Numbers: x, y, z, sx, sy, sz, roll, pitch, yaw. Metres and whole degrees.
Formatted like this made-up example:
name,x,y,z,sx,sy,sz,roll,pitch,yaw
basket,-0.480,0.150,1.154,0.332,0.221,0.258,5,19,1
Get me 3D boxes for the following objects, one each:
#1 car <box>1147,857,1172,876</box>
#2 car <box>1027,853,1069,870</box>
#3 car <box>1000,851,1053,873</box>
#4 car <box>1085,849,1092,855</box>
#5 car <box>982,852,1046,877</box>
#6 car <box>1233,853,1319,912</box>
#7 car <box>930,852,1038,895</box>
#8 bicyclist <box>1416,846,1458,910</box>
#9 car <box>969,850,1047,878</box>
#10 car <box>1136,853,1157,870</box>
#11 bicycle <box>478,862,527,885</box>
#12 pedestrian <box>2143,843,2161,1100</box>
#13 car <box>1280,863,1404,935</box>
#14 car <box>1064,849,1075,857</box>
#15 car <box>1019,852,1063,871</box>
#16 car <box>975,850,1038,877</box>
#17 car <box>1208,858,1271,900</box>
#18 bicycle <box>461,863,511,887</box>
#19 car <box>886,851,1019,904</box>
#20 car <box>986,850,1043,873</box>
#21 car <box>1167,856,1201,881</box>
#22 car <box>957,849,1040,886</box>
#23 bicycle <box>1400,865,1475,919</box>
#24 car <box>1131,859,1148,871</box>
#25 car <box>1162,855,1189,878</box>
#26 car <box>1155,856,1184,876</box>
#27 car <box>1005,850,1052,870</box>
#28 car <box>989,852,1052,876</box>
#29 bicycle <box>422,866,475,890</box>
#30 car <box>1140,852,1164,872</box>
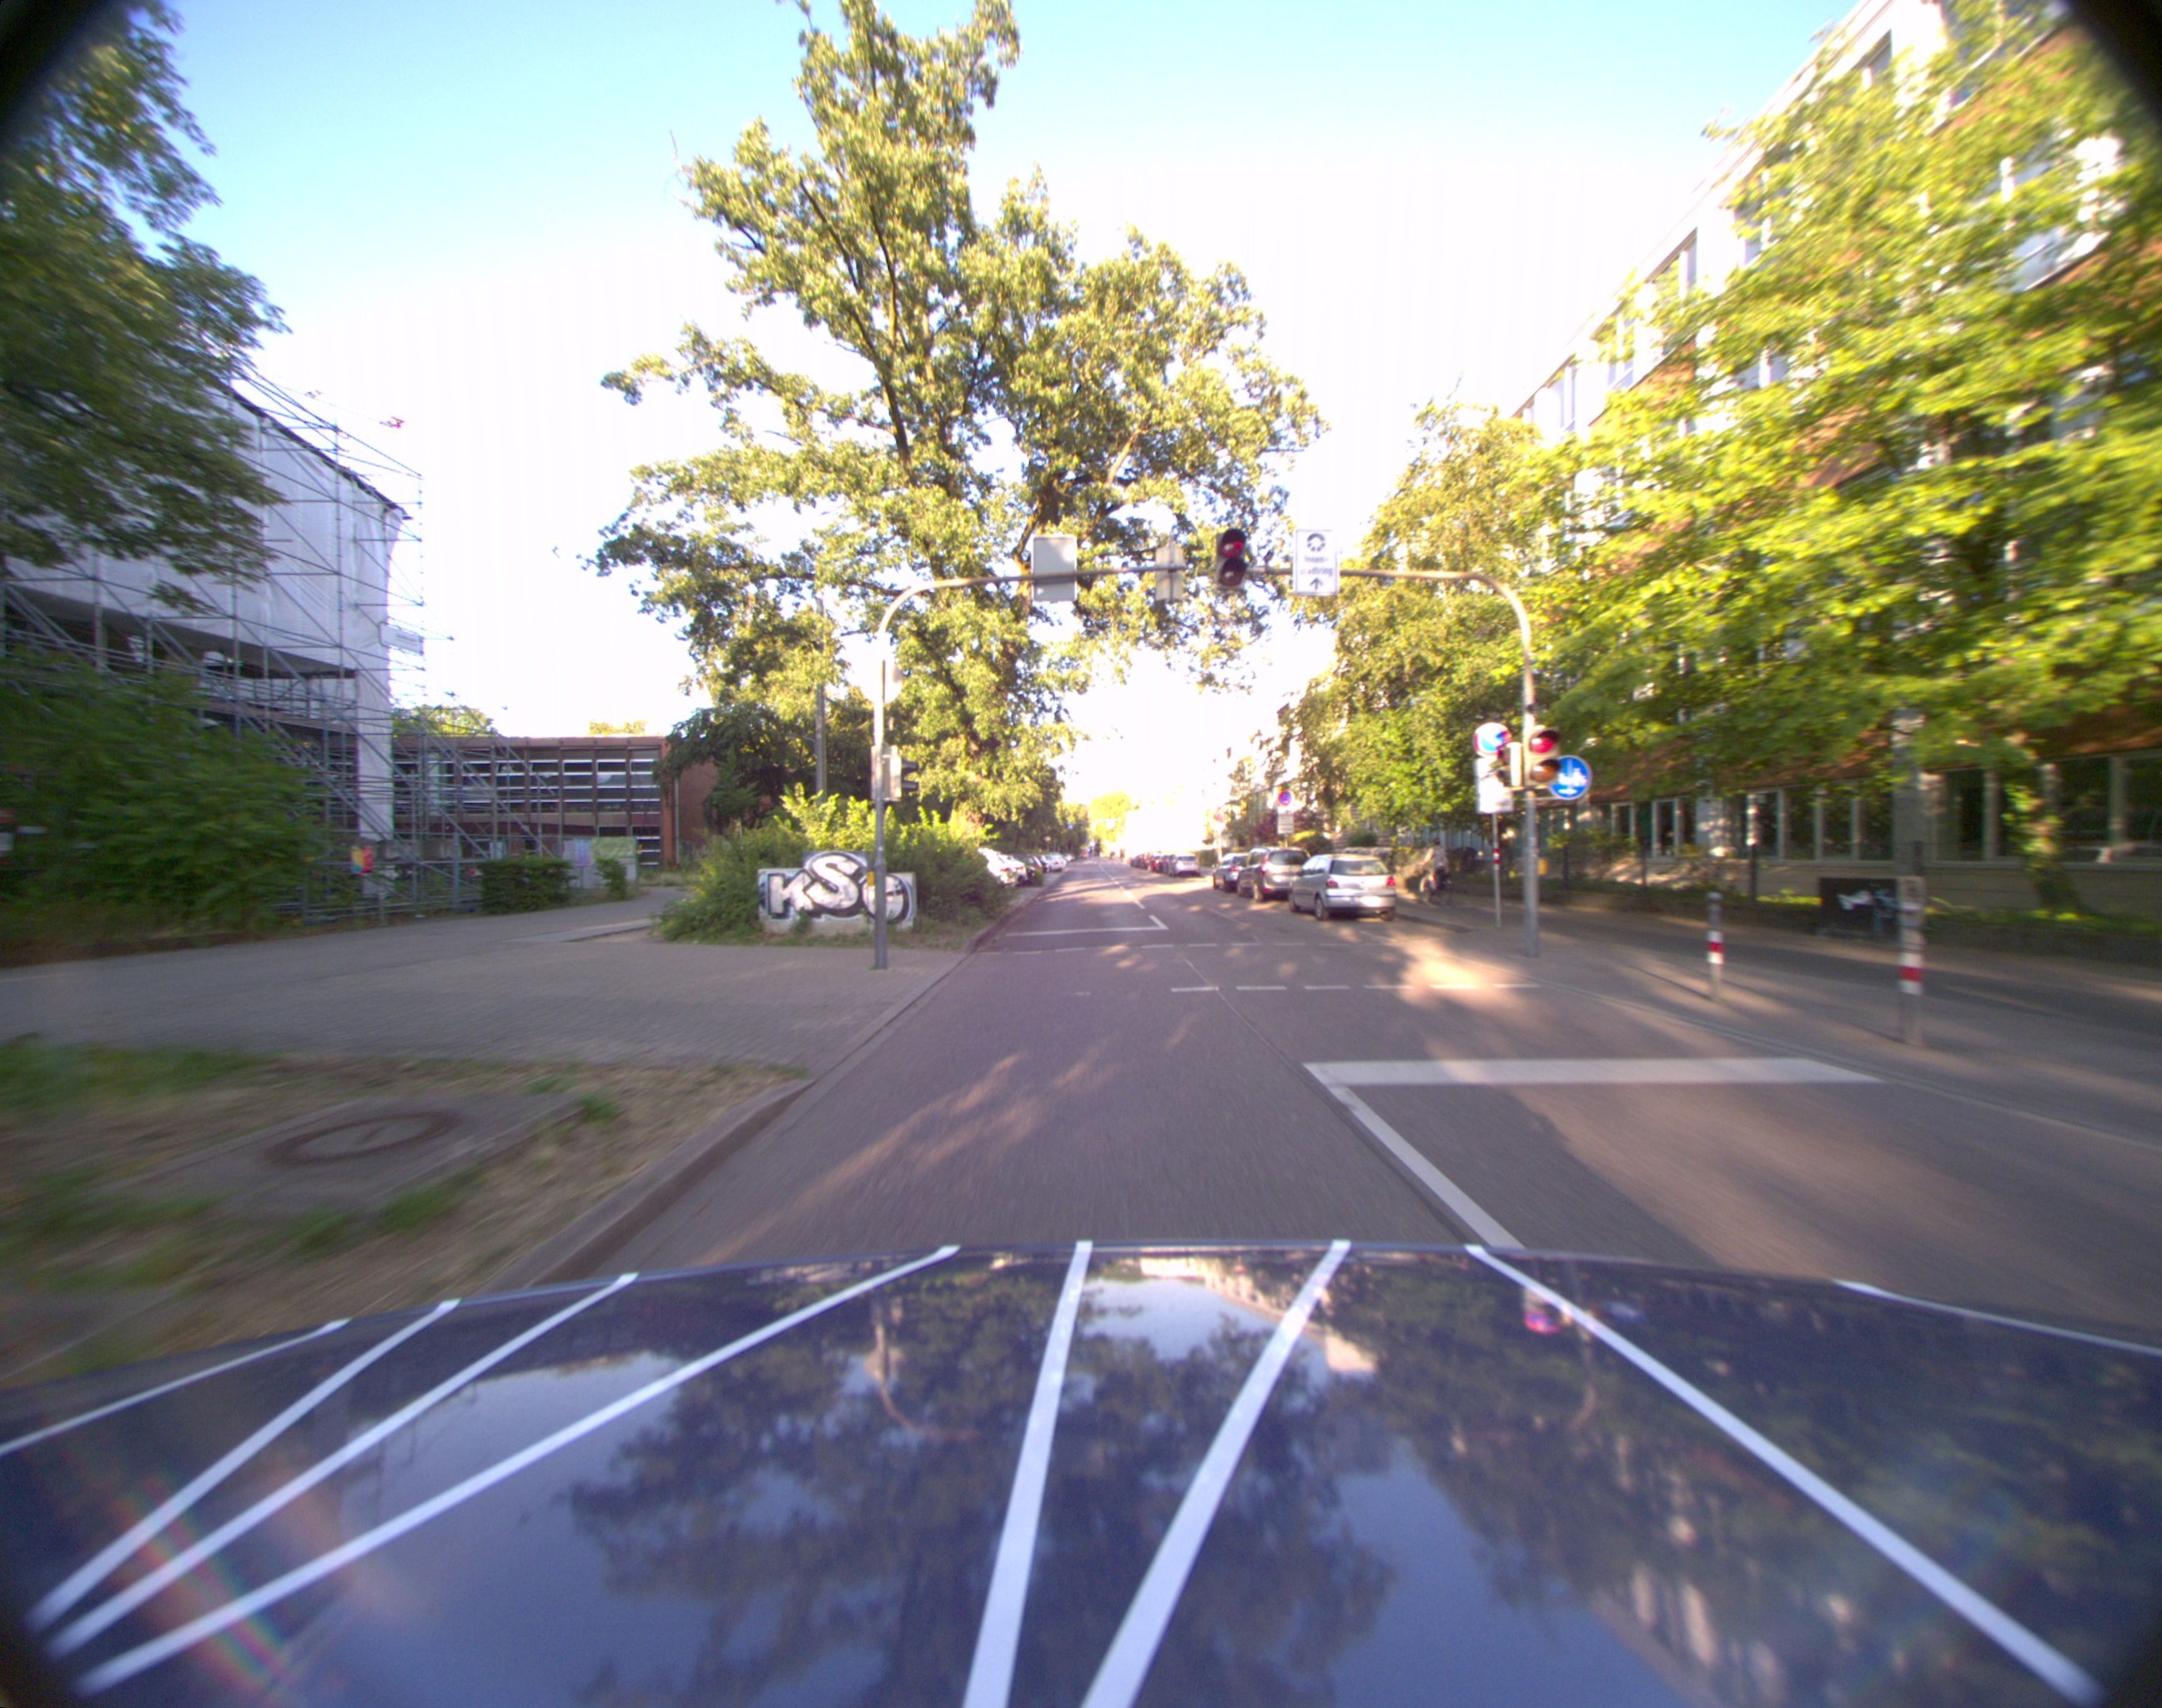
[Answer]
name,x,y,z,sx,sy,sz,roll,pitch,yaw
car,6.477,0.995,63.004,1.602,1.447,3.861,0,0,0
car,-2.955,0.664,67.979,3.676,1.436,1.734,-1,1,-1
car,-4.074,0.600,57.468,3.817,1.466,1.756,2,0,1
car,2.327,-0.652,242.176,2.228,2.002,4.890,0,0,1
car,-4.295,0.649,49.190,3.933,1.445,1.832,2,1,2
car,6.100,0.842,24.208,1.683,1.698,4.340,0,0,1
car,-3.902,0.775,31.006,4.132,1.657,1.723,0,0,1
bicyclist,9.173,0.599,19.590,0.677,1.594,0.706,-2,1,-6
car,-4.247,0.589,44.428,4.349,1.466,1.742,2,-1,-1
car,6.690,0.737,78.313,1.746,1.666,4.416,-1,0,0
bicycle,-29.920,1.006,39.364,0.648,1.131,2.387,0,0,2
pedestrian,7.394,0.752,4.767,0.716,1.653,0.706,-1,0,-23
car,5.969,0.966,17.855,1.683,1.448,3.882,0,0,2
car,-2.153,-0.203,142.496,1.752,1.478,4.177,-1,1,4
car,-3.423,0.601,65.263,3.676,1.544,1.734,-1,1,-1
car,-4.572,0.589,46.989,3.722,1.547,1.741,2,1,-3
car,6.090,0.914,29.631,1.675,1.485,4.061,0,0,1
bicycle,-30.722,1.075,39.265,0.648,1.131,2.387,0,0,2
car,-4.415,0.786,26.433,4.179,1.700,1.868,-1,1,5
car,-4.773,0.510,54.800,3.817,1.466,1.831,2,1,1
car,6.440,0.880,47.720,1.605,1.485,3.772,0,0,0
car,-3.862,0.649,36.050,3.754,1.585,1.697,2,0,-1
bicycle,9.176,0.945,19.673,0.688,1.242,2.191,-2,0,-6
car,6.793,1.244,88.588,1.746,1.349,4.396,0,0,1
car,6.492,0.830,52.444,1.602,1.499,3.788,0,0,3
car,6.589,0.901,56.937,1.602,1.446,4.054,0,0,0
car,-4.303,0.469,62.647,3.734,1.490,1.820,2,1,1
car,-4.092,0.687,52.008,4.131,1.466,1.831,2,1,-1
bicycle,-32.420,1.197,38.985,0.648,1.131,2.387,0,0,2
car,6.776,0.742,72.928,1.812,1.878,4.237,-1,0,0
